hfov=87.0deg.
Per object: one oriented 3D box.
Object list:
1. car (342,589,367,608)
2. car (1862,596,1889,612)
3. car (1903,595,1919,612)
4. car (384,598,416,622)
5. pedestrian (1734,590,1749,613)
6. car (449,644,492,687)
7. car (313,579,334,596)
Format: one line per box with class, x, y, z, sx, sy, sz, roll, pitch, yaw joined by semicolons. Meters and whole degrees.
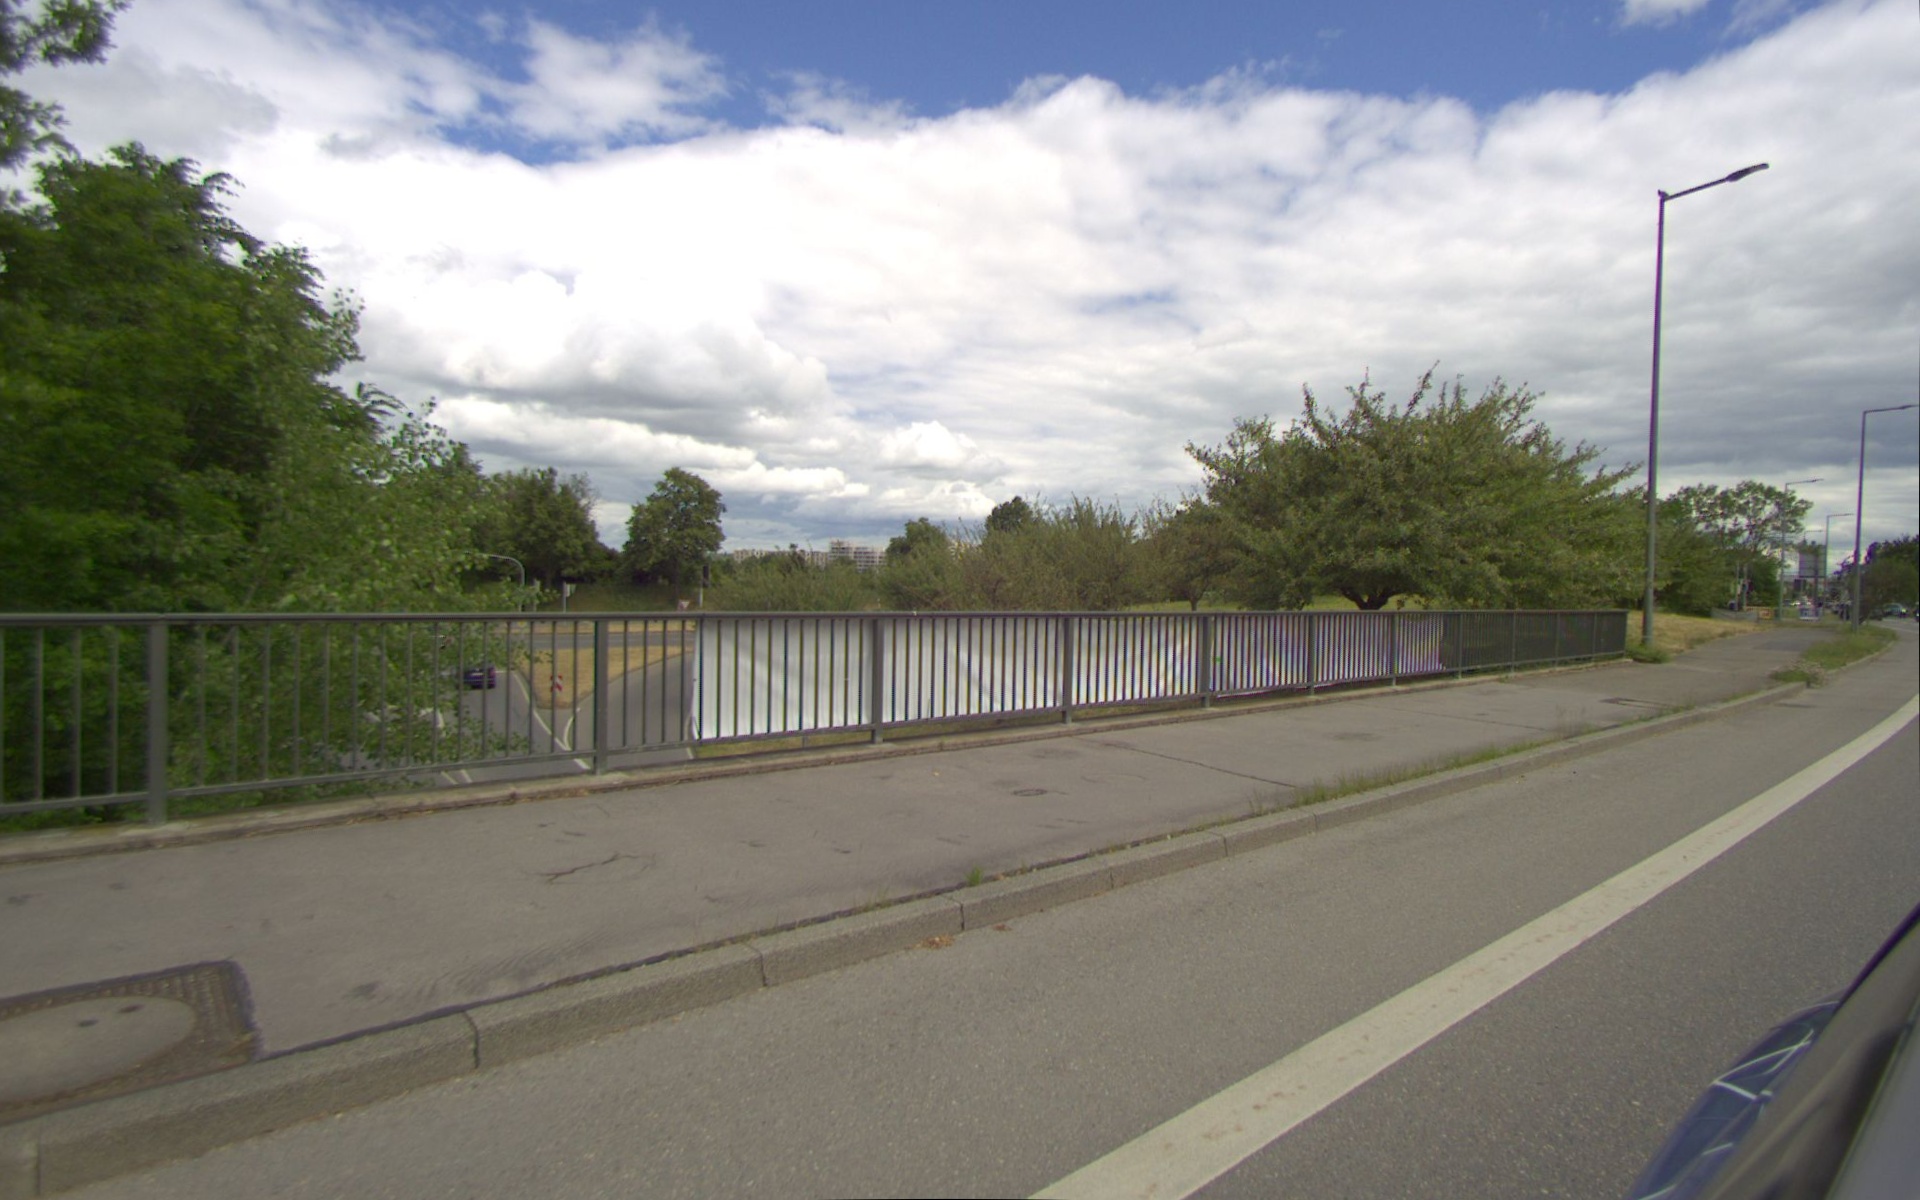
car;-57.854;-0.146;96.721;1.650;1.559;3.857;2;2;-37
car;84.393;0.337;93.312;1.729;1.459;4.304;1;0;40
car;98.747;0.309;104.480;1.865;1.716;4.307;1;0;40
car;-43.684;0.774;78.863;1.650;1.559;3.857;2;2;-37
pedestrian;65.219;0.119;84.484;0.755;1.907;0.796;0;0;17
car;-23.441;3.104;48.380;1.647;1.559;3.863;2;2;-28
car;-70.162;-1.374;111.544;1.650;1.559;3.857;2;2;-37
